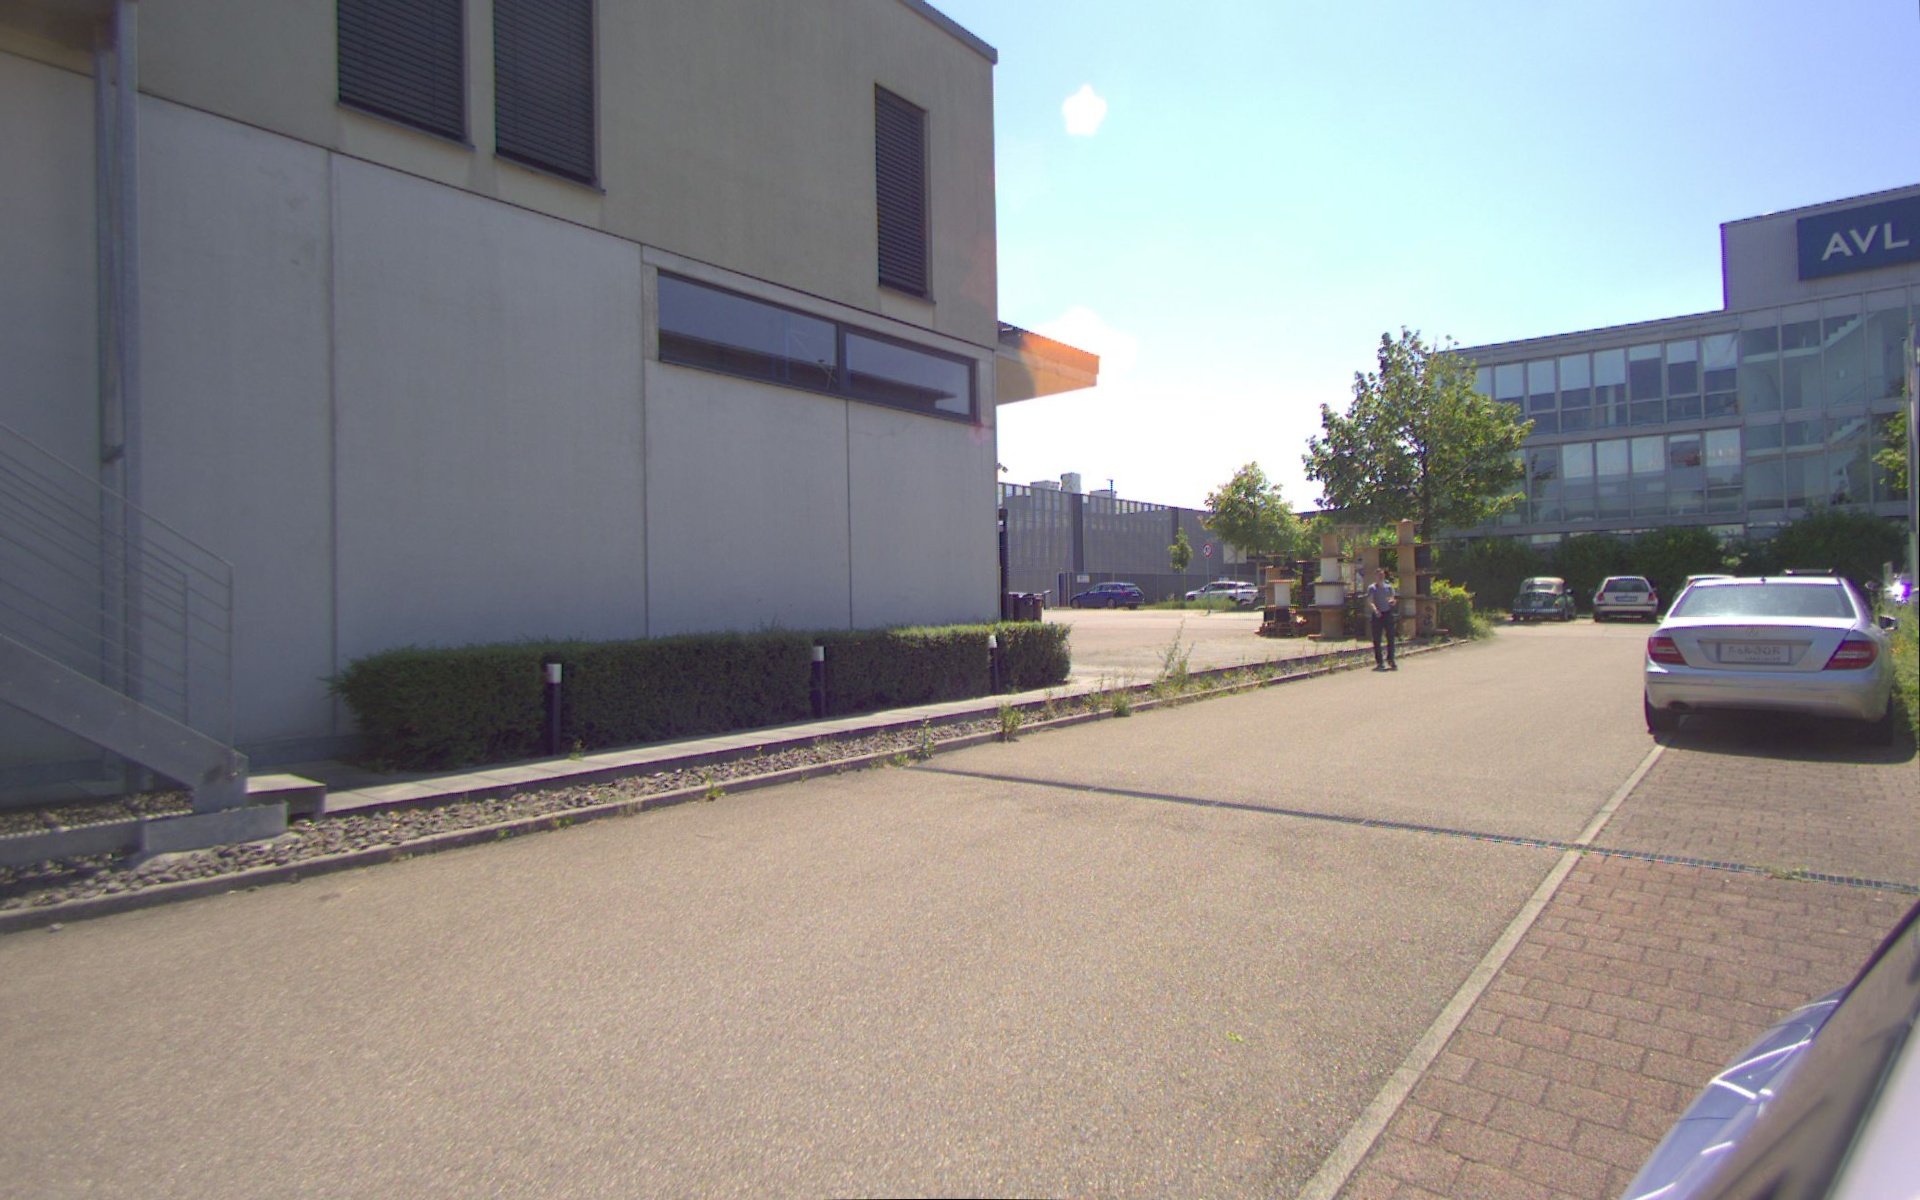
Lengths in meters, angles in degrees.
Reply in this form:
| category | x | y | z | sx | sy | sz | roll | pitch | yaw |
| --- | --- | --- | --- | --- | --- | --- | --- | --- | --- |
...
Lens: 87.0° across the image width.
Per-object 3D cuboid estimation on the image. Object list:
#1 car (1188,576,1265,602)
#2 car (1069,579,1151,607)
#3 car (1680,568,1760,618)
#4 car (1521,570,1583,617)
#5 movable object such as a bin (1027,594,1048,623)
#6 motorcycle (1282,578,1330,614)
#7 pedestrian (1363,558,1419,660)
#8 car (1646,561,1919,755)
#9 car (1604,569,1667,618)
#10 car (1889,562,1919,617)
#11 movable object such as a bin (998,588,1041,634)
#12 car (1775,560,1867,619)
| category | x | y | z | sx | sy | sz | roll | pitch | yaw |
| --- | --- | --- | --- | --- | --- | --- | --- | --- | --- |
| car | 16.024 | -0.660 | 61.061 | 1.747 | 1.494 | 4.415 | -1 | 1 | -34 |
| car | 8.161 | -0.353 | 55.373 | 1.825 | 1.427 | 4.444 | -2 | 1 | -37 |
| car | 24.007 | -0.267 | 32.070 | 1.719 | 1.470 | 3.560 | 0 | 2 | 33 |
| car | 20.105 | -0.257 | 34.328 | 1.513 | 1.463 | 3.375 | 0 | 2 | 36 |
| movable object such as a bin | 2.560 | 0.267 | 33.206 | 0.577 | 0.929 | 0.545 | -1 | 1 | 16 |
| motorcycle | 13.379 | -0.164 | 39.088 | 0.869 | 1.275 | 2.797 | -1 | 1 | 38 |
| pedestrian | 7.742 | 0.152 | 18.217 | 0.798 | 1.790 | 0.765 | -2 | 1 | 18 |
| car | 8.051 | 0.393 | 9.814 | 1.728 | 1.475 | 4.084 | 0 | 1 | 43 |
| car | 21.959 | -0.240 | 32.996 | 1.631 | 1.470 | 3.560 | 0 | 2 | 32 |
| car | 27.661 | -0.337 | 28.679 | 1.723 | 1.503 | 4.335 | -1 | 1 | 40 |
| movable object such as a bin | 1.677 | 0.296 | 28.586 | 0.788 | 1.265 | 0.875 | -2 | 1 | -42 |
| car | 25.702 | -0.359 | 30.321 | 1.929 | 1.622 | 3.807 | 0 | 2 | 38 |
